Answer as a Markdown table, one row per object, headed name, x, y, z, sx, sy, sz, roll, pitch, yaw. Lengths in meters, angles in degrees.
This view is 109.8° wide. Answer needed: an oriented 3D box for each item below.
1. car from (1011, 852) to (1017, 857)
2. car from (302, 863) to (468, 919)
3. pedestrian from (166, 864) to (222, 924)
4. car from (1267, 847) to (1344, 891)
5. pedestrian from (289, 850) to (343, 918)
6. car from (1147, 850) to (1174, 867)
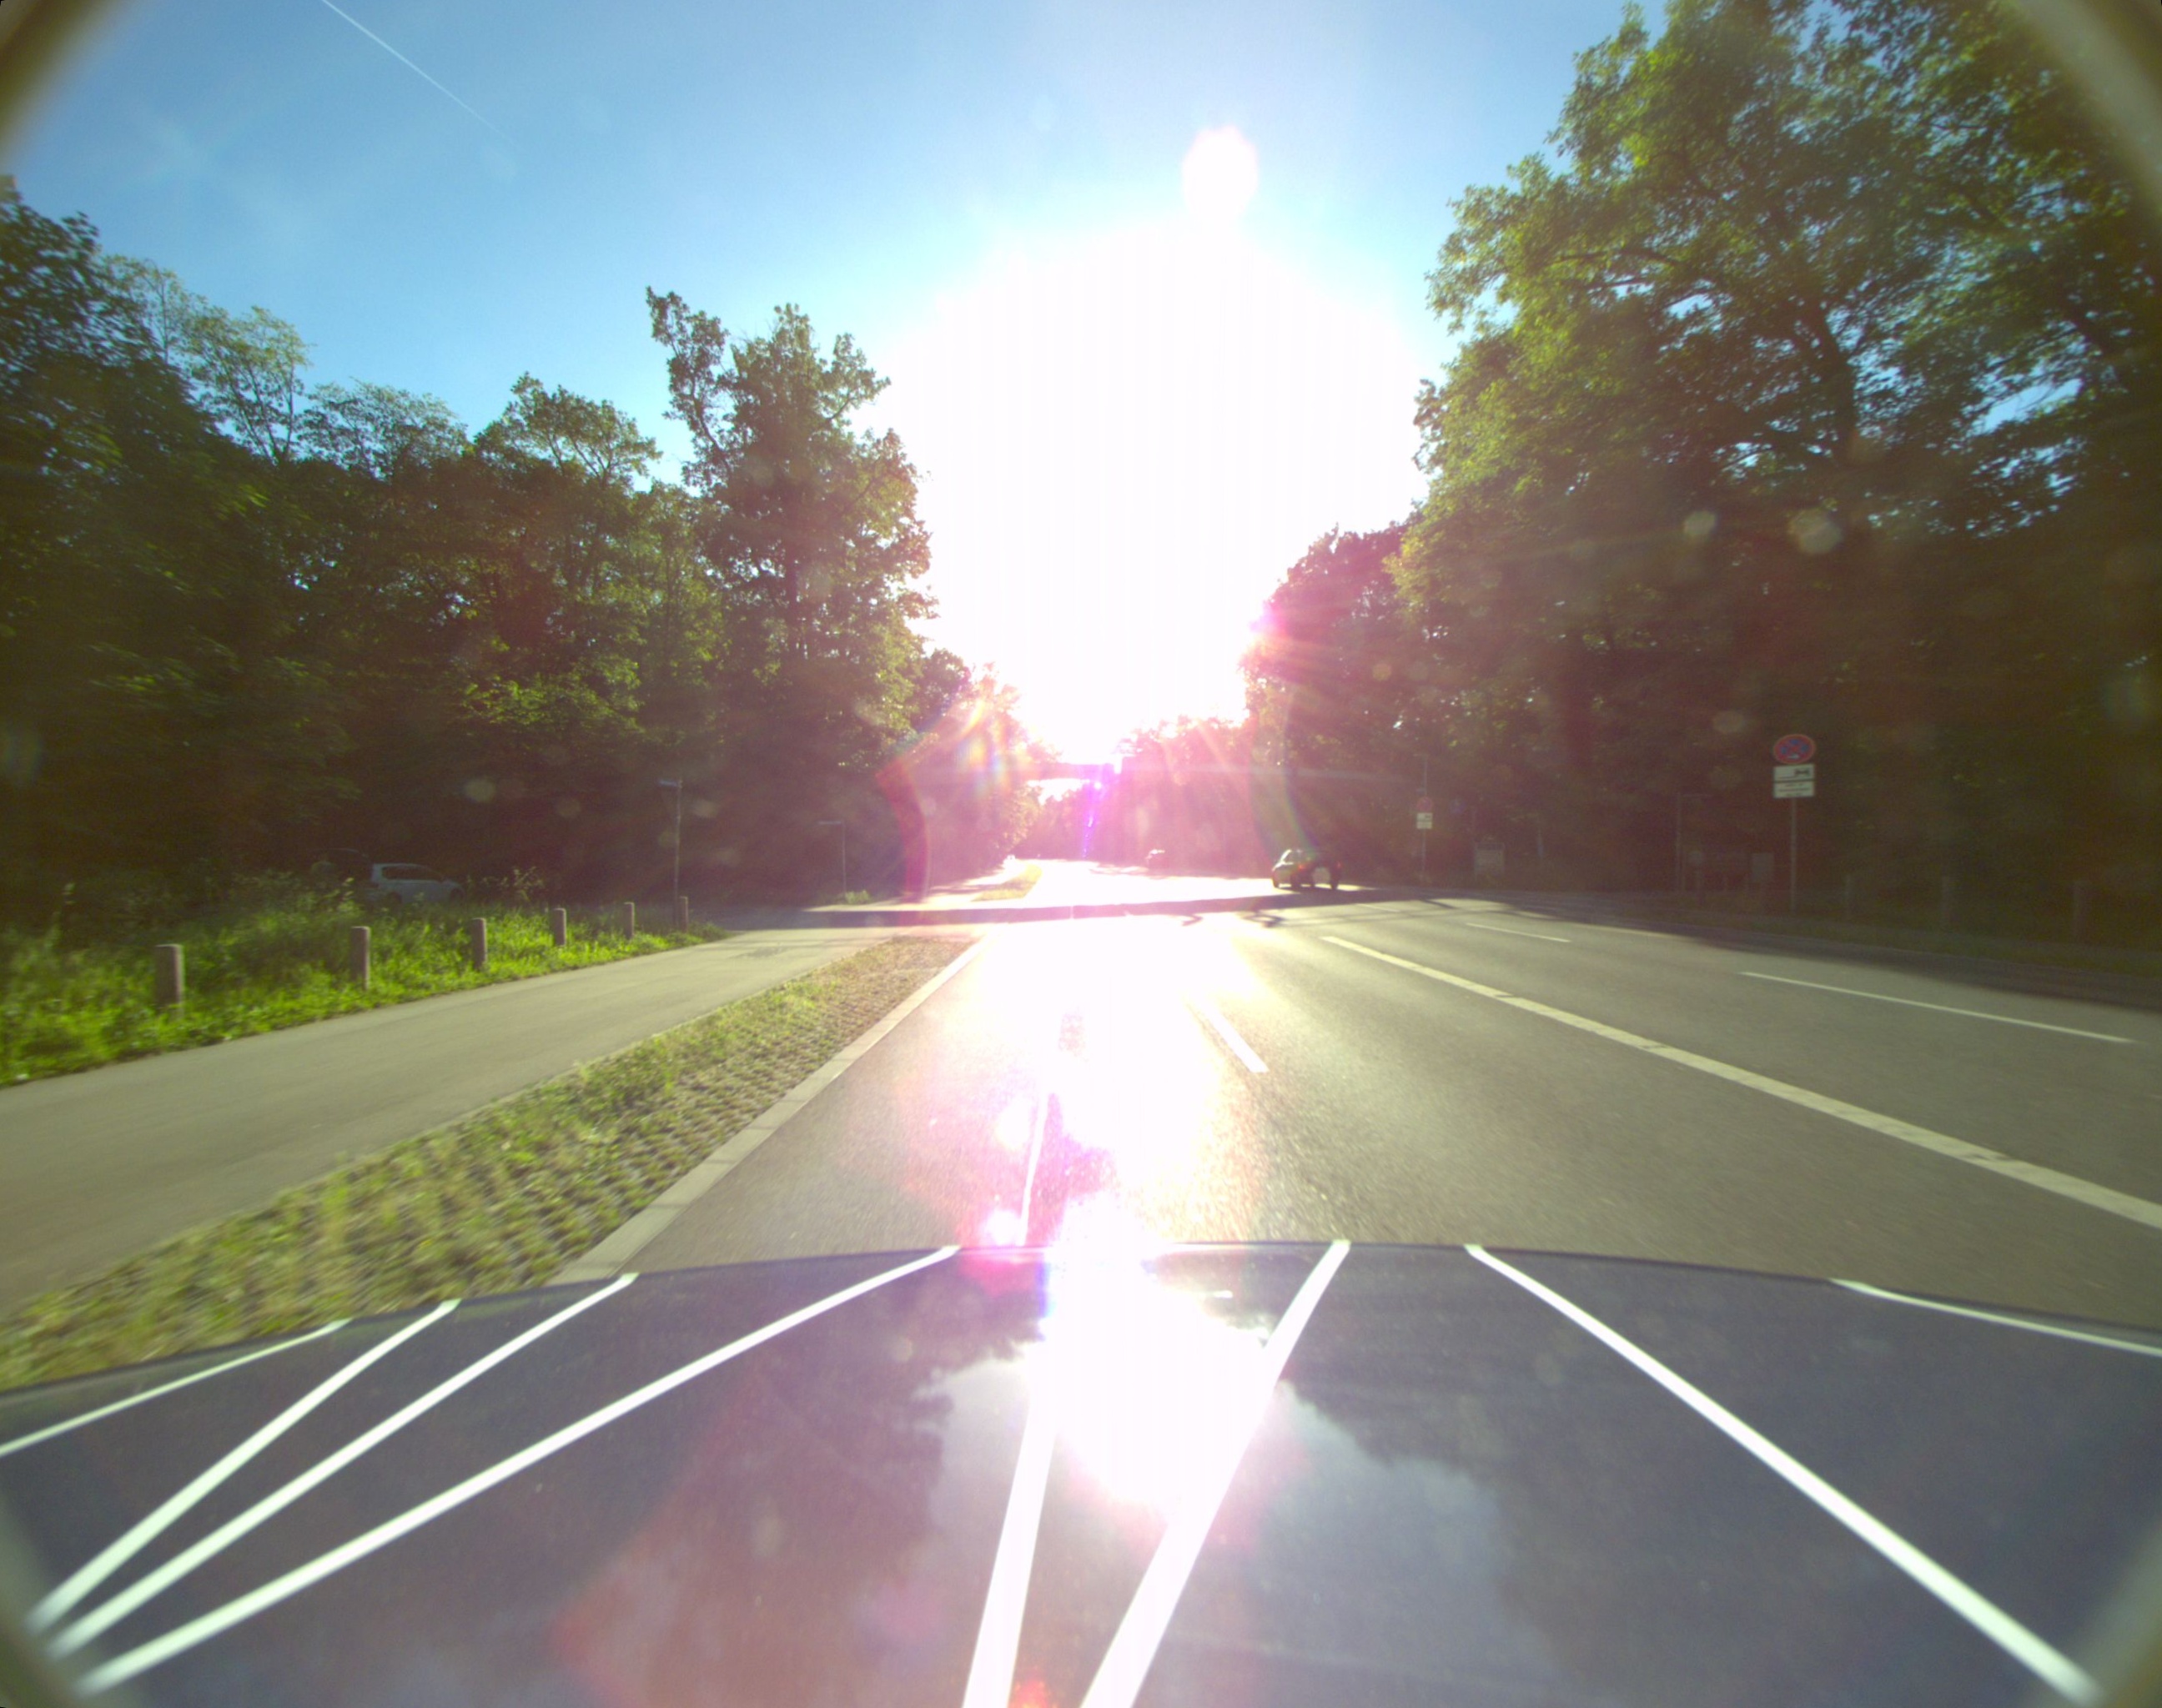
| name | x | y | z | sx | sy | sz | roll | pitch | yaw |
| --- | --- | --- | --- | --- | --- | --- | --- | --- | --- |
| car | -22.196 | 0.104 | 250.690 | 1.827 | 1.674 | 3.997 | -1 | 1 | -8 |
| car | -21.814 | 1.099 | 24.059 | 1.742 | 1.516 | 3.998 | -2 | 1 | -5 |
| pedestrian | -24.898 | 1.101 | 21.346 | 0.711 | 1.644 | 0.672 | -1 | 1 | -6 |
| car | 8.261 | 0.501 | 28.327 | 1.517 | 1.457 | 4.313 | -1 | 1 | -1 |
| pedestrian | -21.566 | 0.833 | 21.432 | 0.603 | 1.862 | 0.845 | -1 | 1 | 1 |
| car | 7.430 | 0.411 | 71.046 | 1.847 | 1.539 | 3.998 | -1 | 0 | -4 |
